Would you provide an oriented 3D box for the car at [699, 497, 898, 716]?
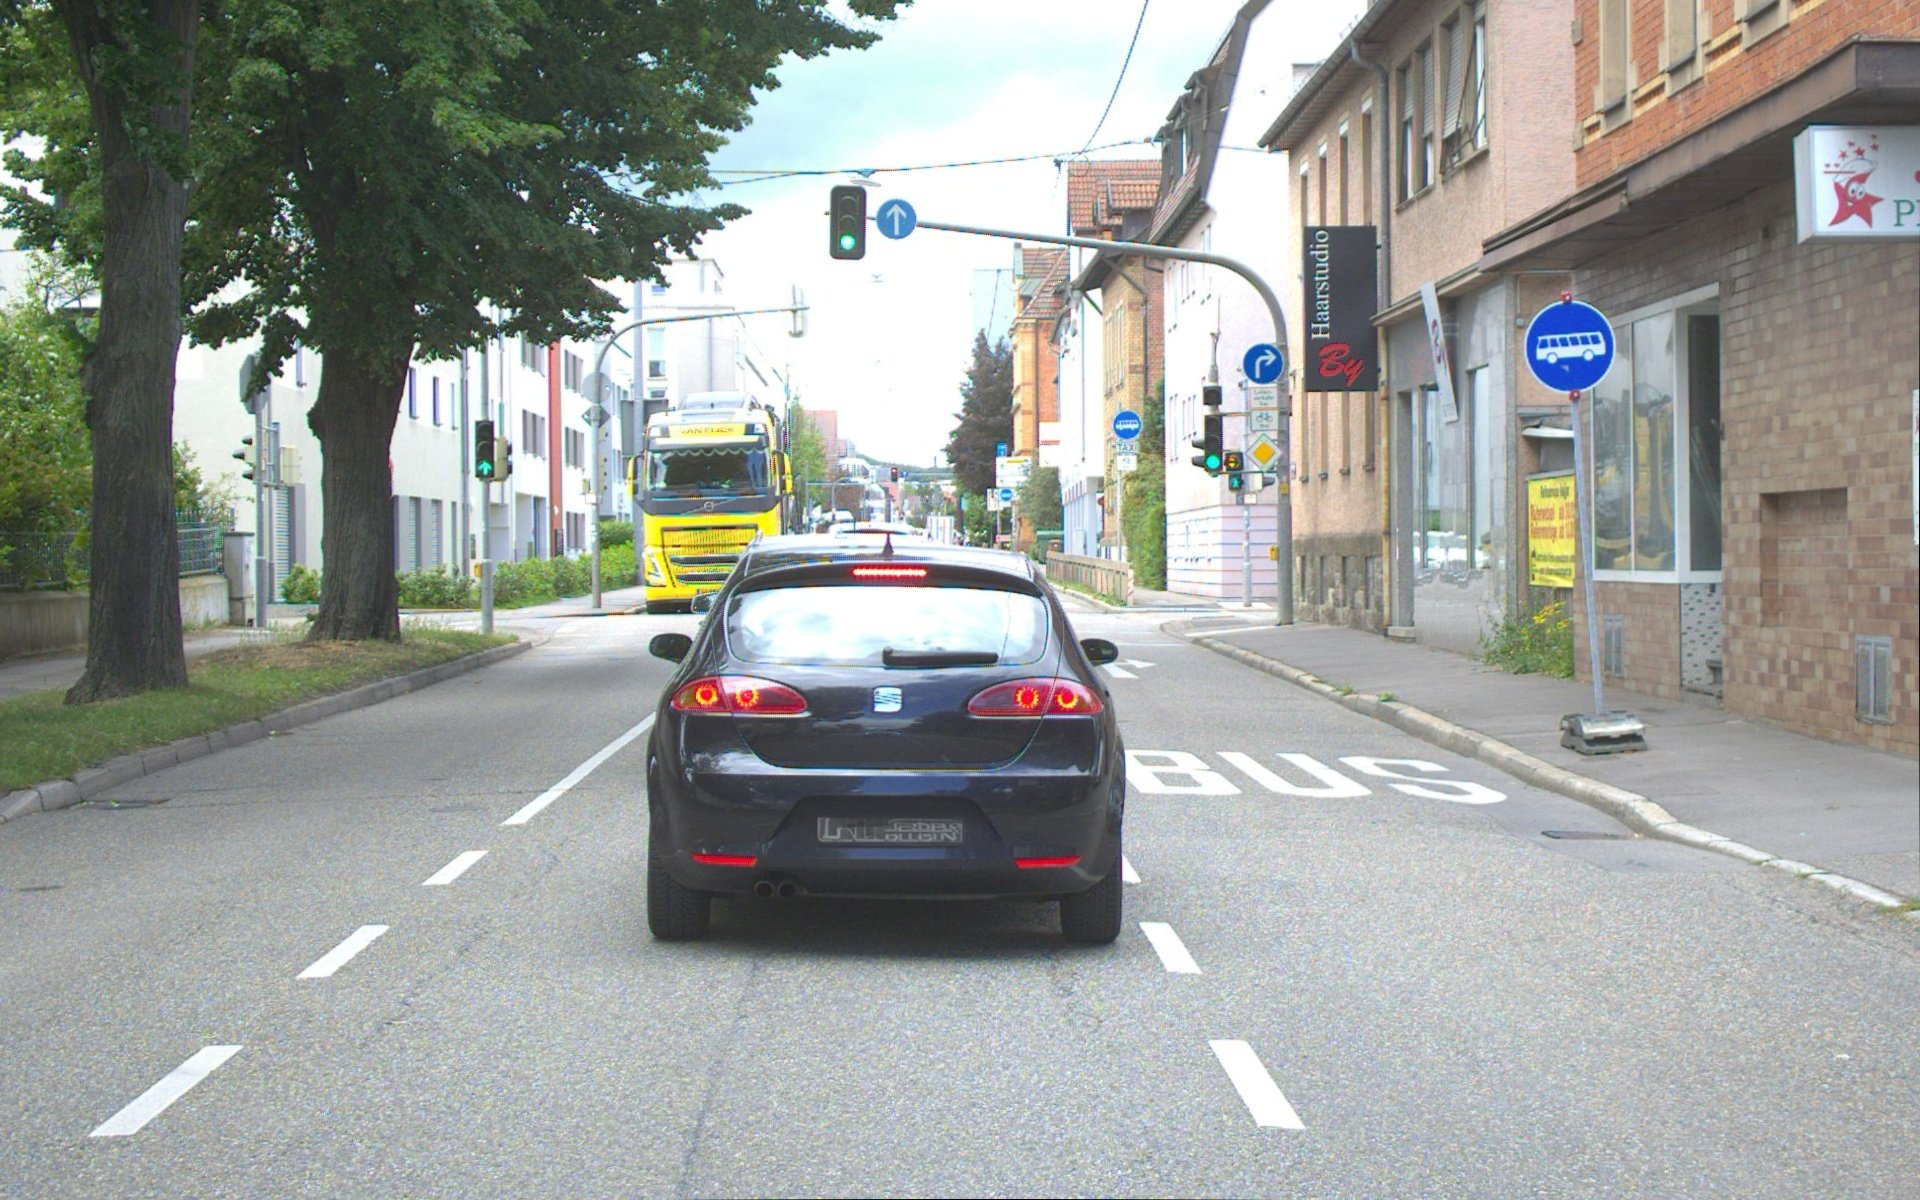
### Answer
[{"bbox_3d":[-1.299,0.024,28.610,1.531,1.687,3.693,1,1,-1],"label":"car"}]

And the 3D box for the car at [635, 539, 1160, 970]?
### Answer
[{"bbox_3d":[-0.245,0.495,13.616,1.759,1.437,4.000,1,1,-1],"label":"car"}]

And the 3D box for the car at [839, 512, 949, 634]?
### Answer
[{"bbox_3d":[-0.967,-0.401,50.040,1.531,1.687,3.693,1,1,-1],"label":"car"}]

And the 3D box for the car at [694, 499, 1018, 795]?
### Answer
[{"bbox_3d":[-0.645,0.245,21.802,1.842,1.687,4.000,1,1,-1],"label":"car"}]

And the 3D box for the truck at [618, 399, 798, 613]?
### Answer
[{"bbox_3d":[-4.656,-1.725,64.889,2.843,3.769,7.670,1,1,0],"label":"truck"}]

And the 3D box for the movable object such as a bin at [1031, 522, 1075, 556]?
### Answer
[{"bbox_3d":[3.986,-2.589,147.087,1.818,1.432,1.993,1,1,0],"label":"movable object such as a bin"}]

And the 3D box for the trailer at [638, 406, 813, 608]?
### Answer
[{"bbox_3d":[-4.752,-1.851,72.278,2.858,3.795,14.392,1,1,-1],"label":"trailer"}]
